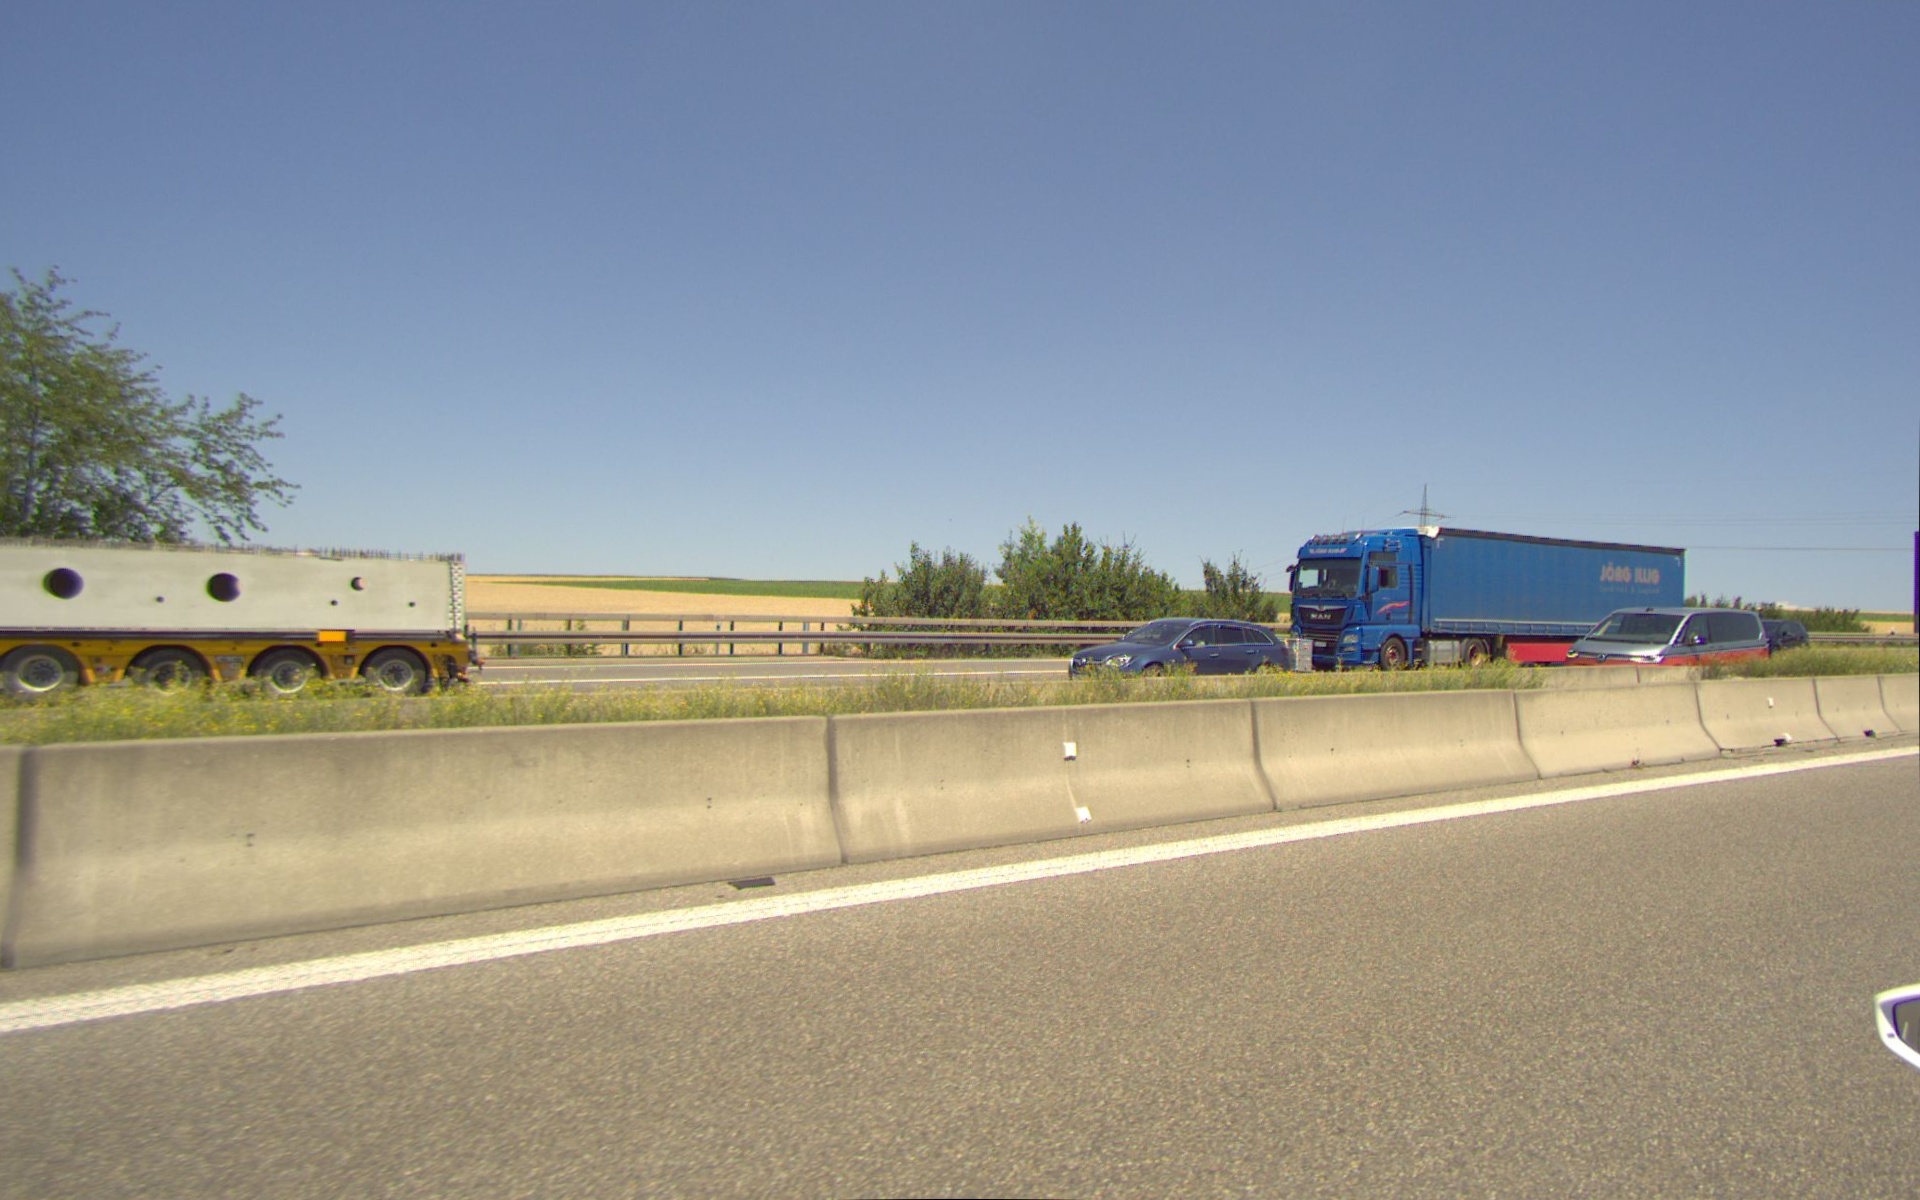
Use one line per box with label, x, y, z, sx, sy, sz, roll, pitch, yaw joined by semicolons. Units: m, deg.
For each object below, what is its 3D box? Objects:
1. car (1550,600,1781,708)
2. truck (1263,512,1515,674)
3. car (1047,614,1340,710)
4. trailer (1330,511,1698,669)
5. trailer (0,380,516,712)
car;14.789;1.081;20.965;5.384;1.996;1.904;2;0;-31
truck;12.339;-0.120;28.813;6.853;4.144;3.062;2;0;-30
car;4.529;1.117;19.091;5.676;1.562;1.904;2;0;-31
trailer;18.044;-0.114;32.022;14.206;4.250;3.147;2;1;-29
trailer;-13.775;-0.720;13.305;14.208;4.155;2.939;1;1;-30
